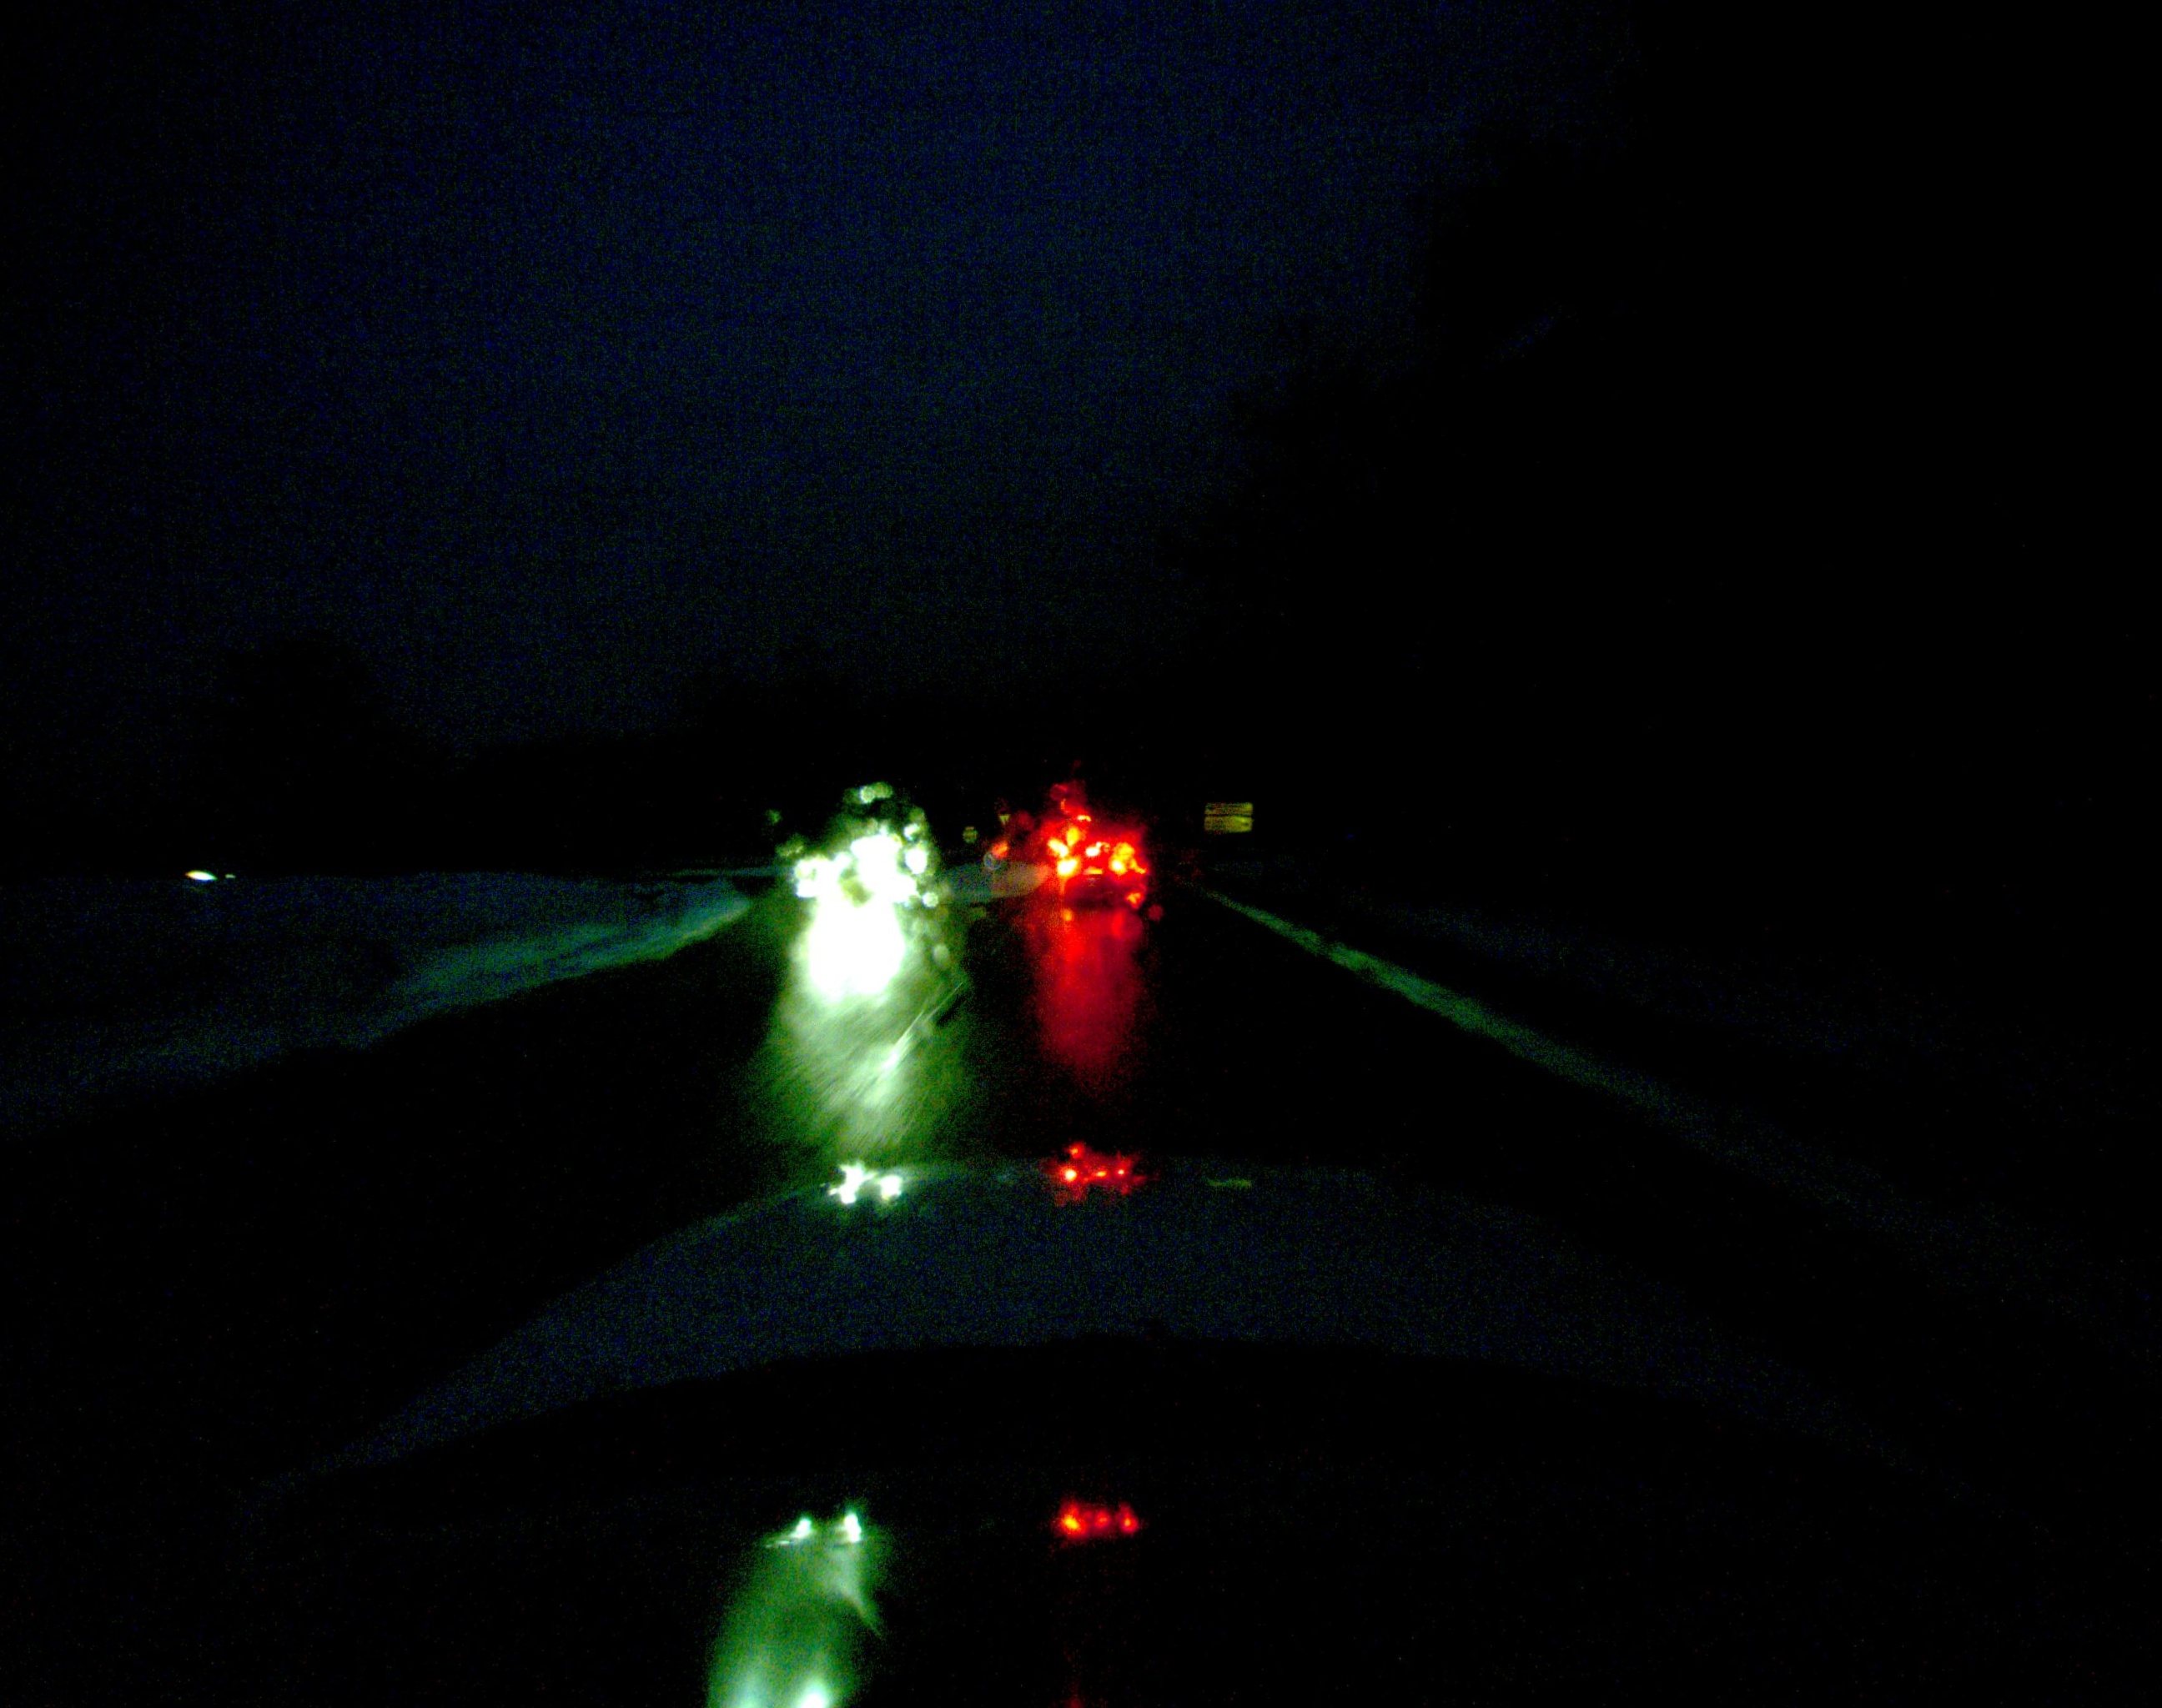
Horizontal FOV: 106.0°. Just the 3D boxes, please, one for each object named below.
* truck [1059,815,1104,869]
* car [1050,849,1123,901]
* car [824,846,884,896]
[{"bbox_3d":[-0.038,-0.649,44.059,2.071,2.745,5.312,0,0,-4],"label":"truck"},{"bbox_3d":[0.130,0.544,23.568,1.916,1.276,3.999,0,2,-1],"label":"car"},{"bbox_3d":[-7.643,0.518,27.491,1.745,1.486,3.984,-3,1,-15],"label":"car"}]
